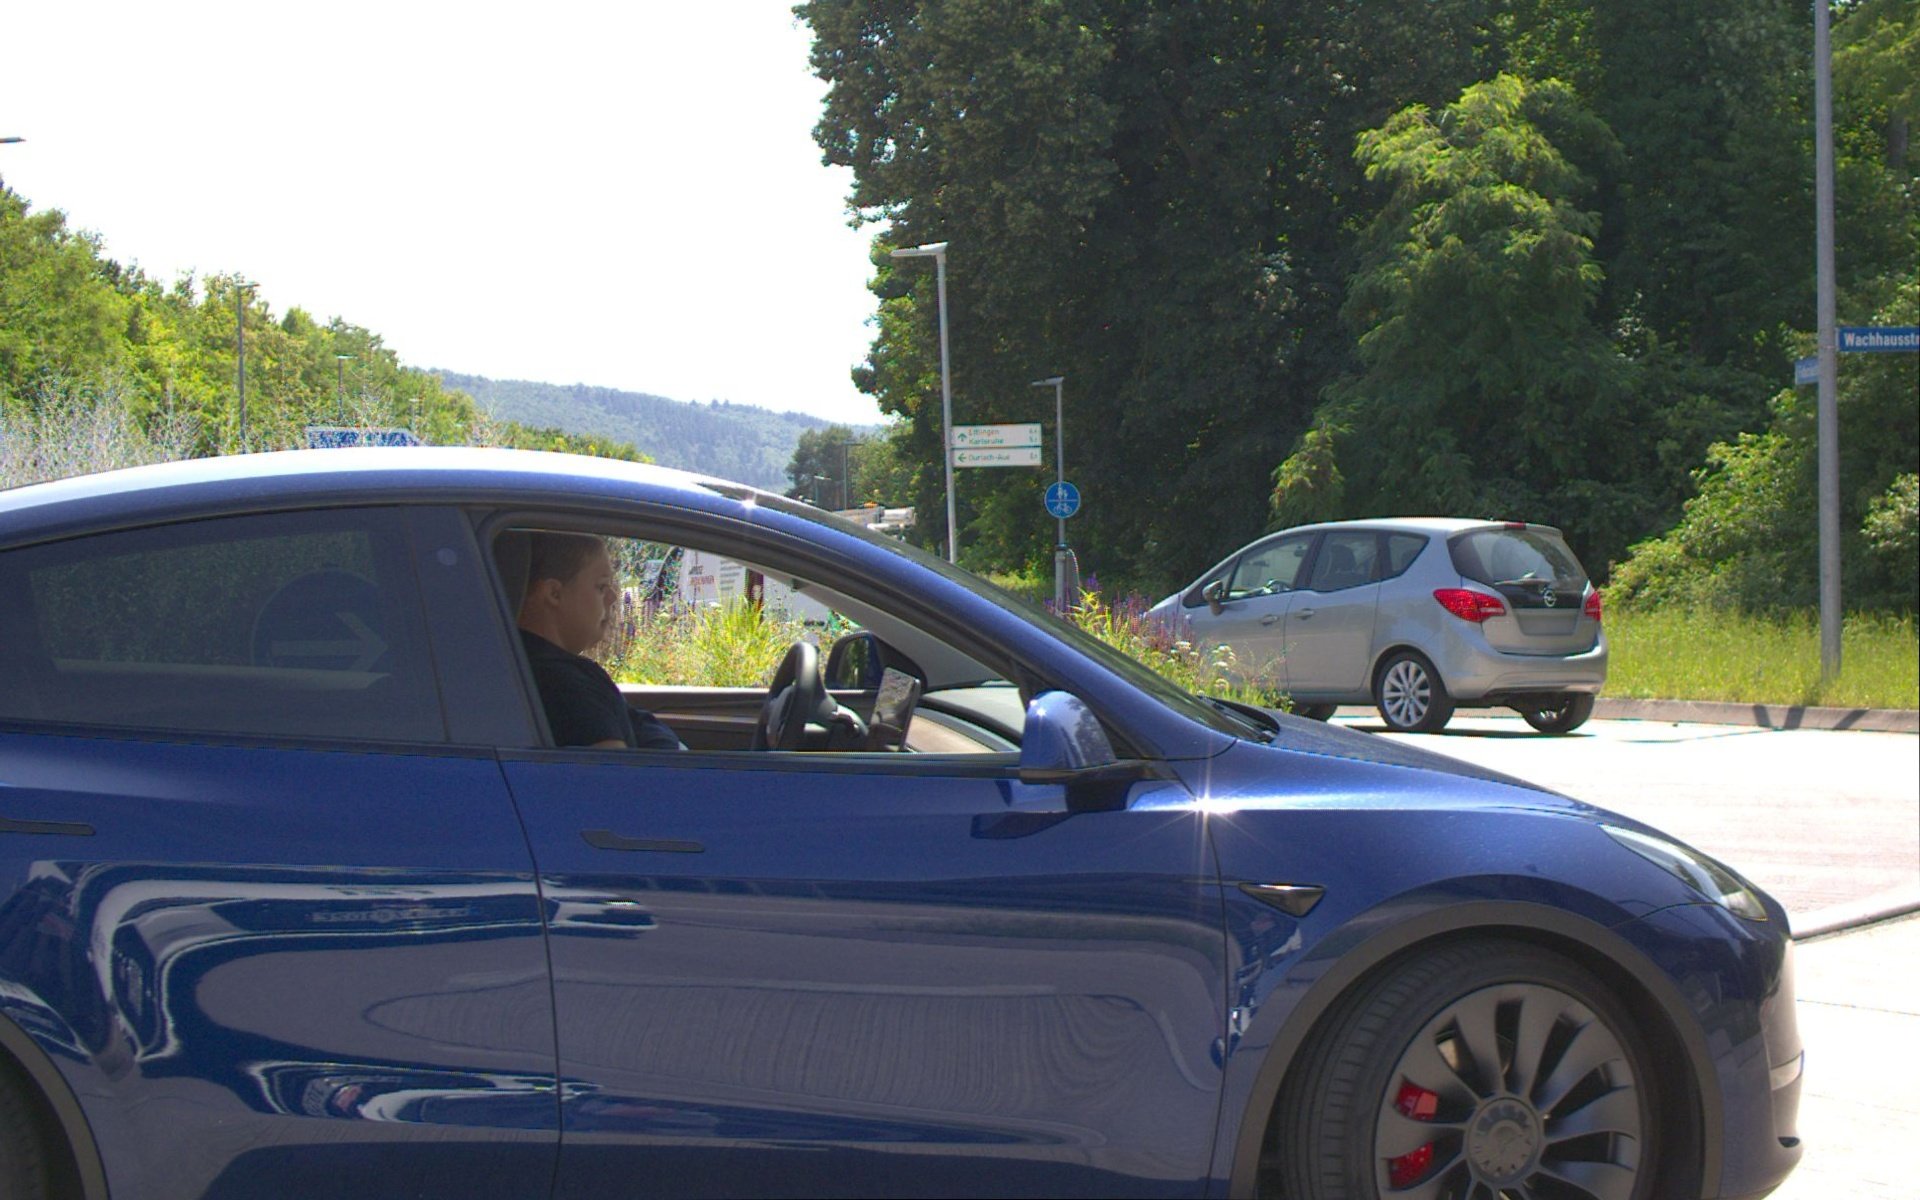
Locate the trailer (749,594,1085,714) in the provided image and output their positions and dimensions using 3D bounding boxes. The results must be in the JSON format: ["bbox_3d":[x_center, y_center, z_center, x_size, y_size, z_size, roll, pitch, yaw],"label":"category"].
[{"bbox_3d":[-0.480,0.498,33.883,2.121,1.093,3.355,0,0,-25],"label":"trailer"}]

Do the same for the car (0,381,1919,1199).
[{"bbox_3d":[-0.726,0.451,6.679,4.740,1.634,2.001,-1,1,-10],"label":"car"}]

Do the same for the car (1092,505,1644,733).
[{"bbox_3d":[3.036,0.122,26.294,1.785,1.601,4.126,0,0,-39],"label":"car"}]

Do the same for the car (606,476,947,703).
[{"bbox_3d":[-2.107,-0.118,37.723,2.165,2.308,4.982,0,0,-23],"label":"car"}]
